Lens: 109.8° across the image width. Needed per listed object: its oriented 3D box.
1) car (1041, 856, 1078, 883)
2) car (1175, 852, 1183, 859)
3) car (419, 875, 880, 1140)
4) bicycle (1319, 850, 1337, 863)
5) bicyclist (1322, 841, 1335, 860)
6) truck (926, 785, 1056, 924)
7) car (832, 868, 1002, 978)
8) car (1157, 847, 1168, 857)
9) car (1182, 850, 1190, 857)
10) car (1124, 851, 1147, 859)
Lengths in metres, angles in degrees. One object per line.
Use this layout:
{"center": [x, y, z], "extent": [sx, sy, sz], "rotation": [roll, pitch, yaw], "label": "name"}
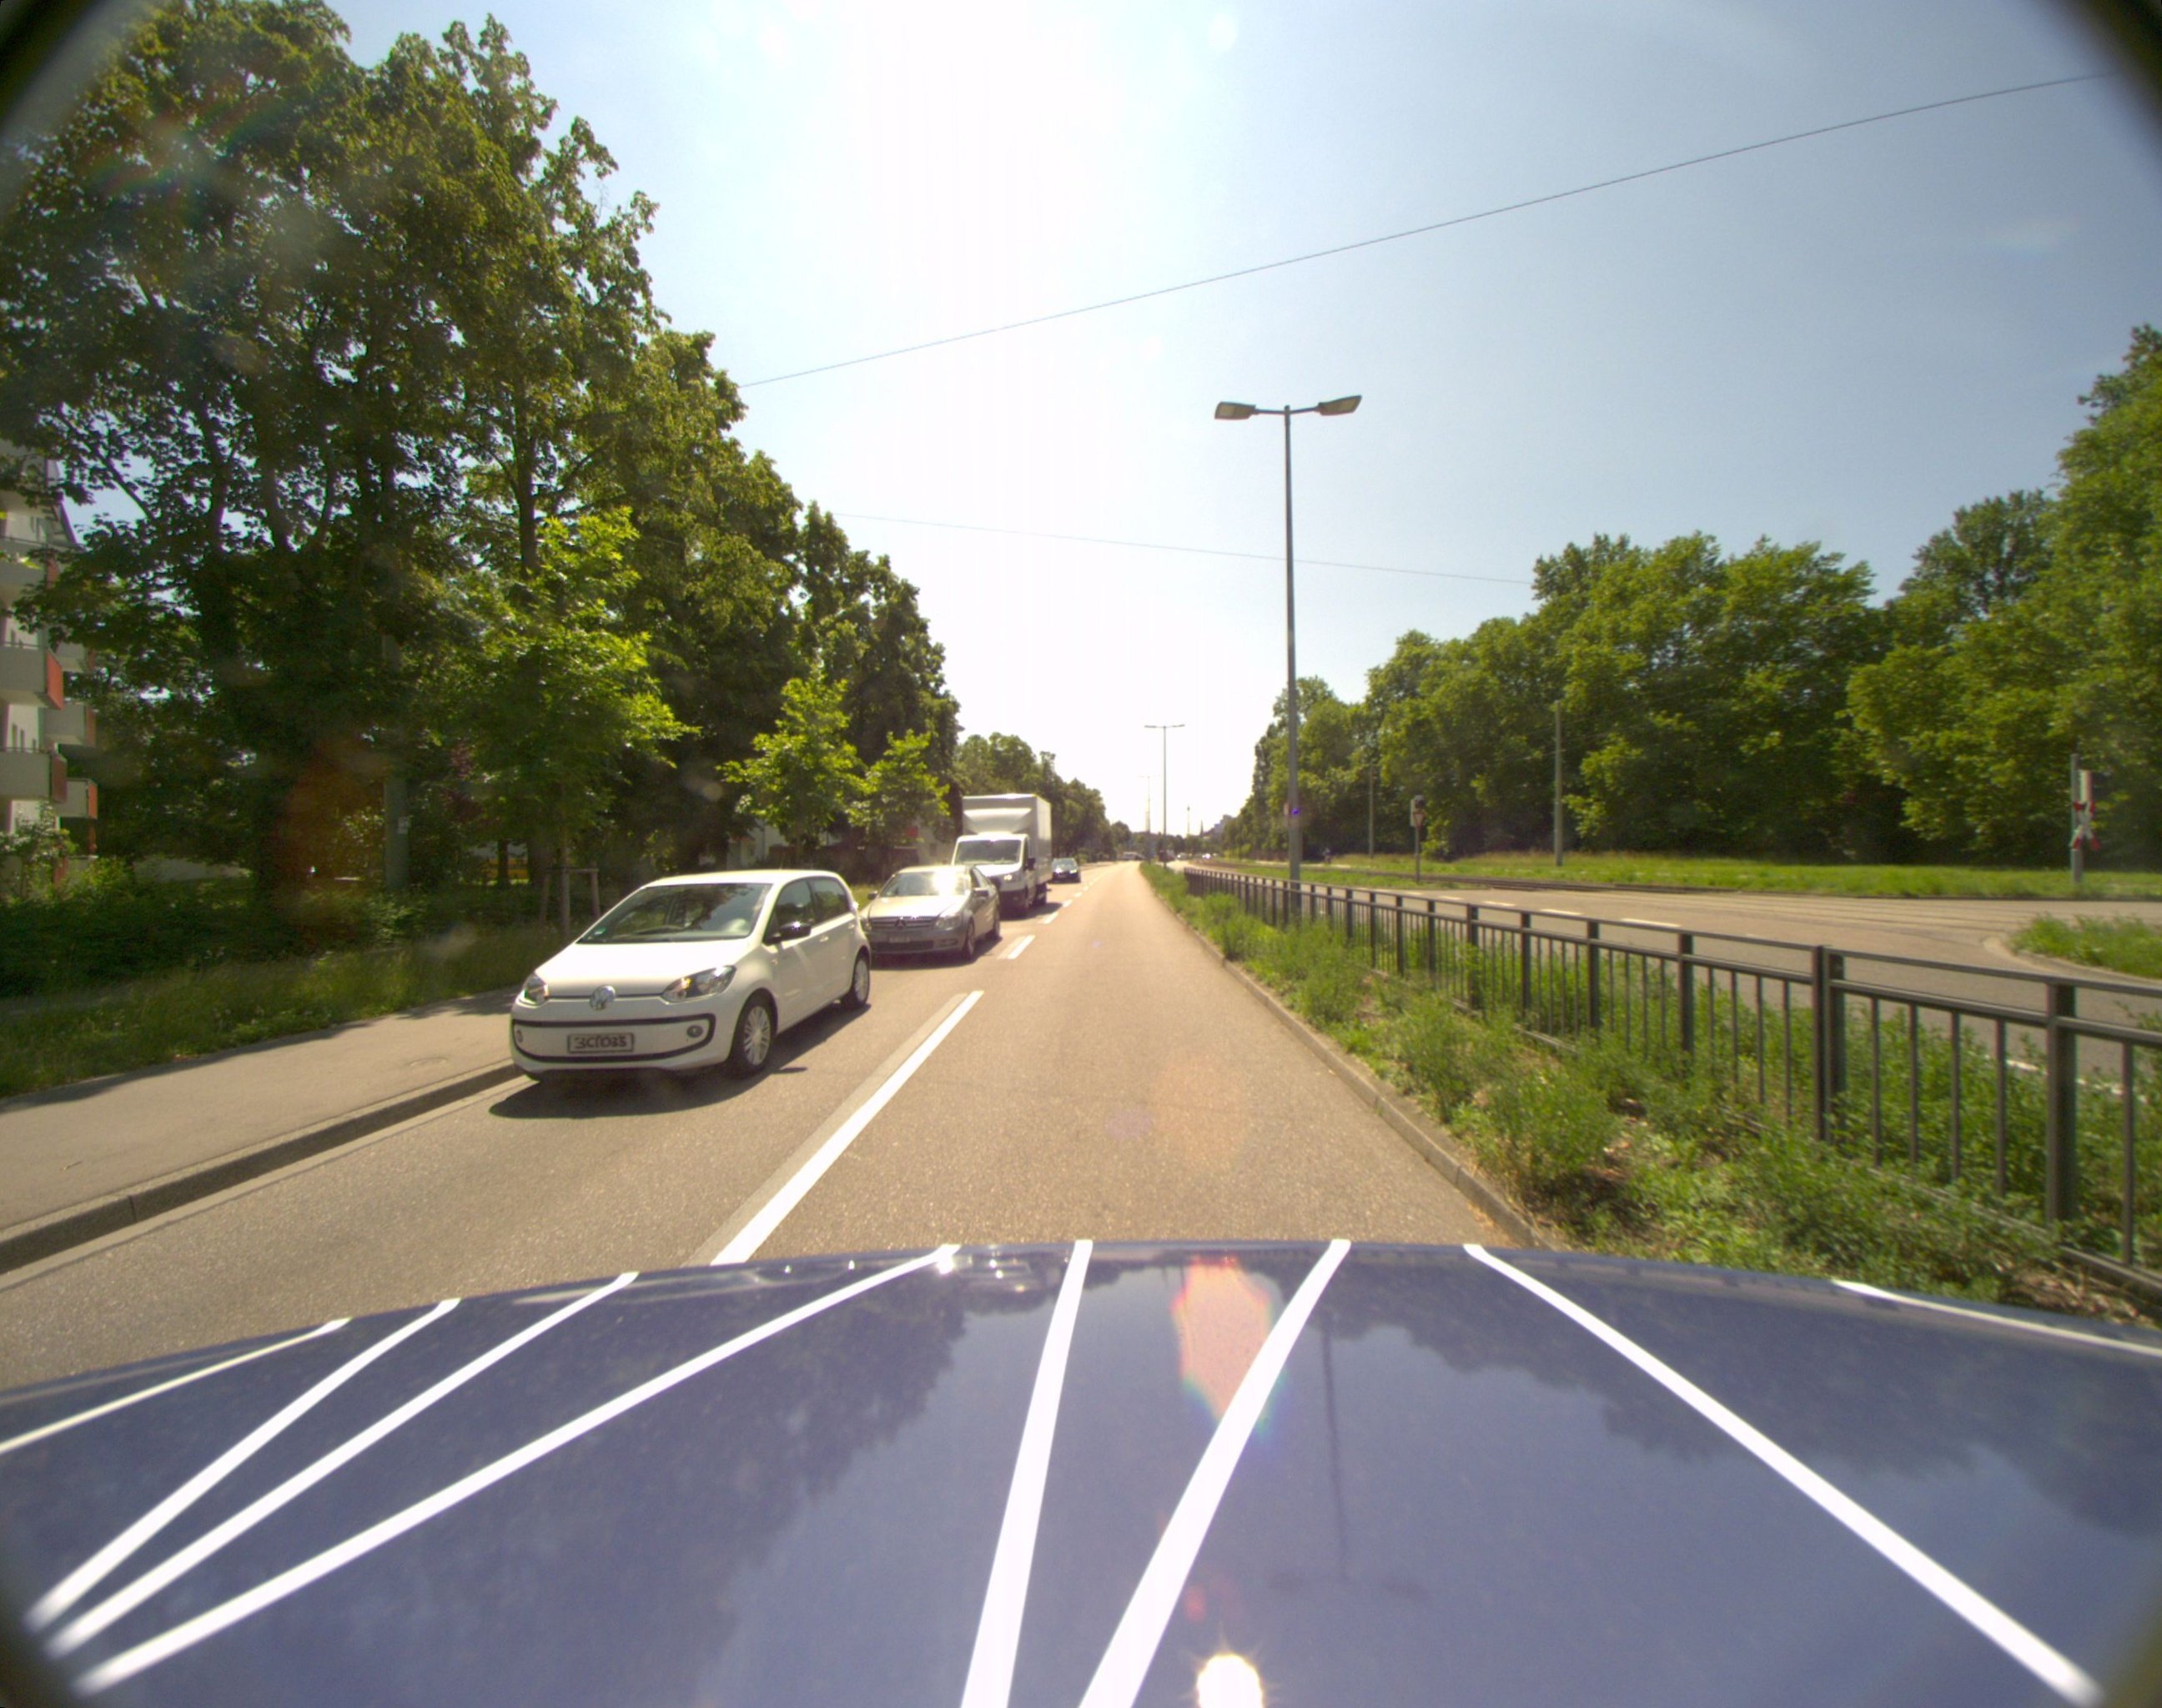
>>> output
{"center": [-1.201, 0.878, 44.626], "extent": [1.998, 1.499, 4.000], "rotation": [-1, 0, 1], "label": "car"}
{"center": [26.749, 0.334, 207.327], "extent": [1.998, 1.847, 4.001], "rotation": [-1, 0, 5], "label": "car"}
{"center": [-3.123, 0.991, 6.510], "extent": [1.730, 1.470, 3.771], "rotation": [-1, 0, 1], "label": "car"}
{"center": [23.539, 0.219, 72.521], "extent": [0.862, 1.155, 2.787], "rotation": [-1, 0, 1], "label": "bicycle"}
{"center": [23.554, -0.317, 72.459], "extent": [0.862, 1.796, 1.118], "rotation": [-1, 1, 1], "label": "bicyclist"}
{"center": [-2.296, -0.003, 22.270], "extent": [2.433, 3.326, 7.923], "rotation": [-1, 0, 3], "label": "truck"}
{"center": [-2.472, 0.989, 12.532], "extent": [1.840, 1.400, 4.087], "rotation": [-1, 0, 1], "label": "car"}
{"center": [16.550, -0.391, 154.003], "extent": [1.997, 1.846, 4.002], "rotation": [-1, 0, 7], "label": "car"}
{"center": [27.607, -0.226, 200.314], "extent": [1.998, 1.846, 4.001], "rotation": [-1, 0, 5], "label": "car"}
{"center": [16.171, 0.256, 225.434], "extent": [6.637, 2.381, 3.199], "rotation": [-1, 0, -1], "label": "car"}
